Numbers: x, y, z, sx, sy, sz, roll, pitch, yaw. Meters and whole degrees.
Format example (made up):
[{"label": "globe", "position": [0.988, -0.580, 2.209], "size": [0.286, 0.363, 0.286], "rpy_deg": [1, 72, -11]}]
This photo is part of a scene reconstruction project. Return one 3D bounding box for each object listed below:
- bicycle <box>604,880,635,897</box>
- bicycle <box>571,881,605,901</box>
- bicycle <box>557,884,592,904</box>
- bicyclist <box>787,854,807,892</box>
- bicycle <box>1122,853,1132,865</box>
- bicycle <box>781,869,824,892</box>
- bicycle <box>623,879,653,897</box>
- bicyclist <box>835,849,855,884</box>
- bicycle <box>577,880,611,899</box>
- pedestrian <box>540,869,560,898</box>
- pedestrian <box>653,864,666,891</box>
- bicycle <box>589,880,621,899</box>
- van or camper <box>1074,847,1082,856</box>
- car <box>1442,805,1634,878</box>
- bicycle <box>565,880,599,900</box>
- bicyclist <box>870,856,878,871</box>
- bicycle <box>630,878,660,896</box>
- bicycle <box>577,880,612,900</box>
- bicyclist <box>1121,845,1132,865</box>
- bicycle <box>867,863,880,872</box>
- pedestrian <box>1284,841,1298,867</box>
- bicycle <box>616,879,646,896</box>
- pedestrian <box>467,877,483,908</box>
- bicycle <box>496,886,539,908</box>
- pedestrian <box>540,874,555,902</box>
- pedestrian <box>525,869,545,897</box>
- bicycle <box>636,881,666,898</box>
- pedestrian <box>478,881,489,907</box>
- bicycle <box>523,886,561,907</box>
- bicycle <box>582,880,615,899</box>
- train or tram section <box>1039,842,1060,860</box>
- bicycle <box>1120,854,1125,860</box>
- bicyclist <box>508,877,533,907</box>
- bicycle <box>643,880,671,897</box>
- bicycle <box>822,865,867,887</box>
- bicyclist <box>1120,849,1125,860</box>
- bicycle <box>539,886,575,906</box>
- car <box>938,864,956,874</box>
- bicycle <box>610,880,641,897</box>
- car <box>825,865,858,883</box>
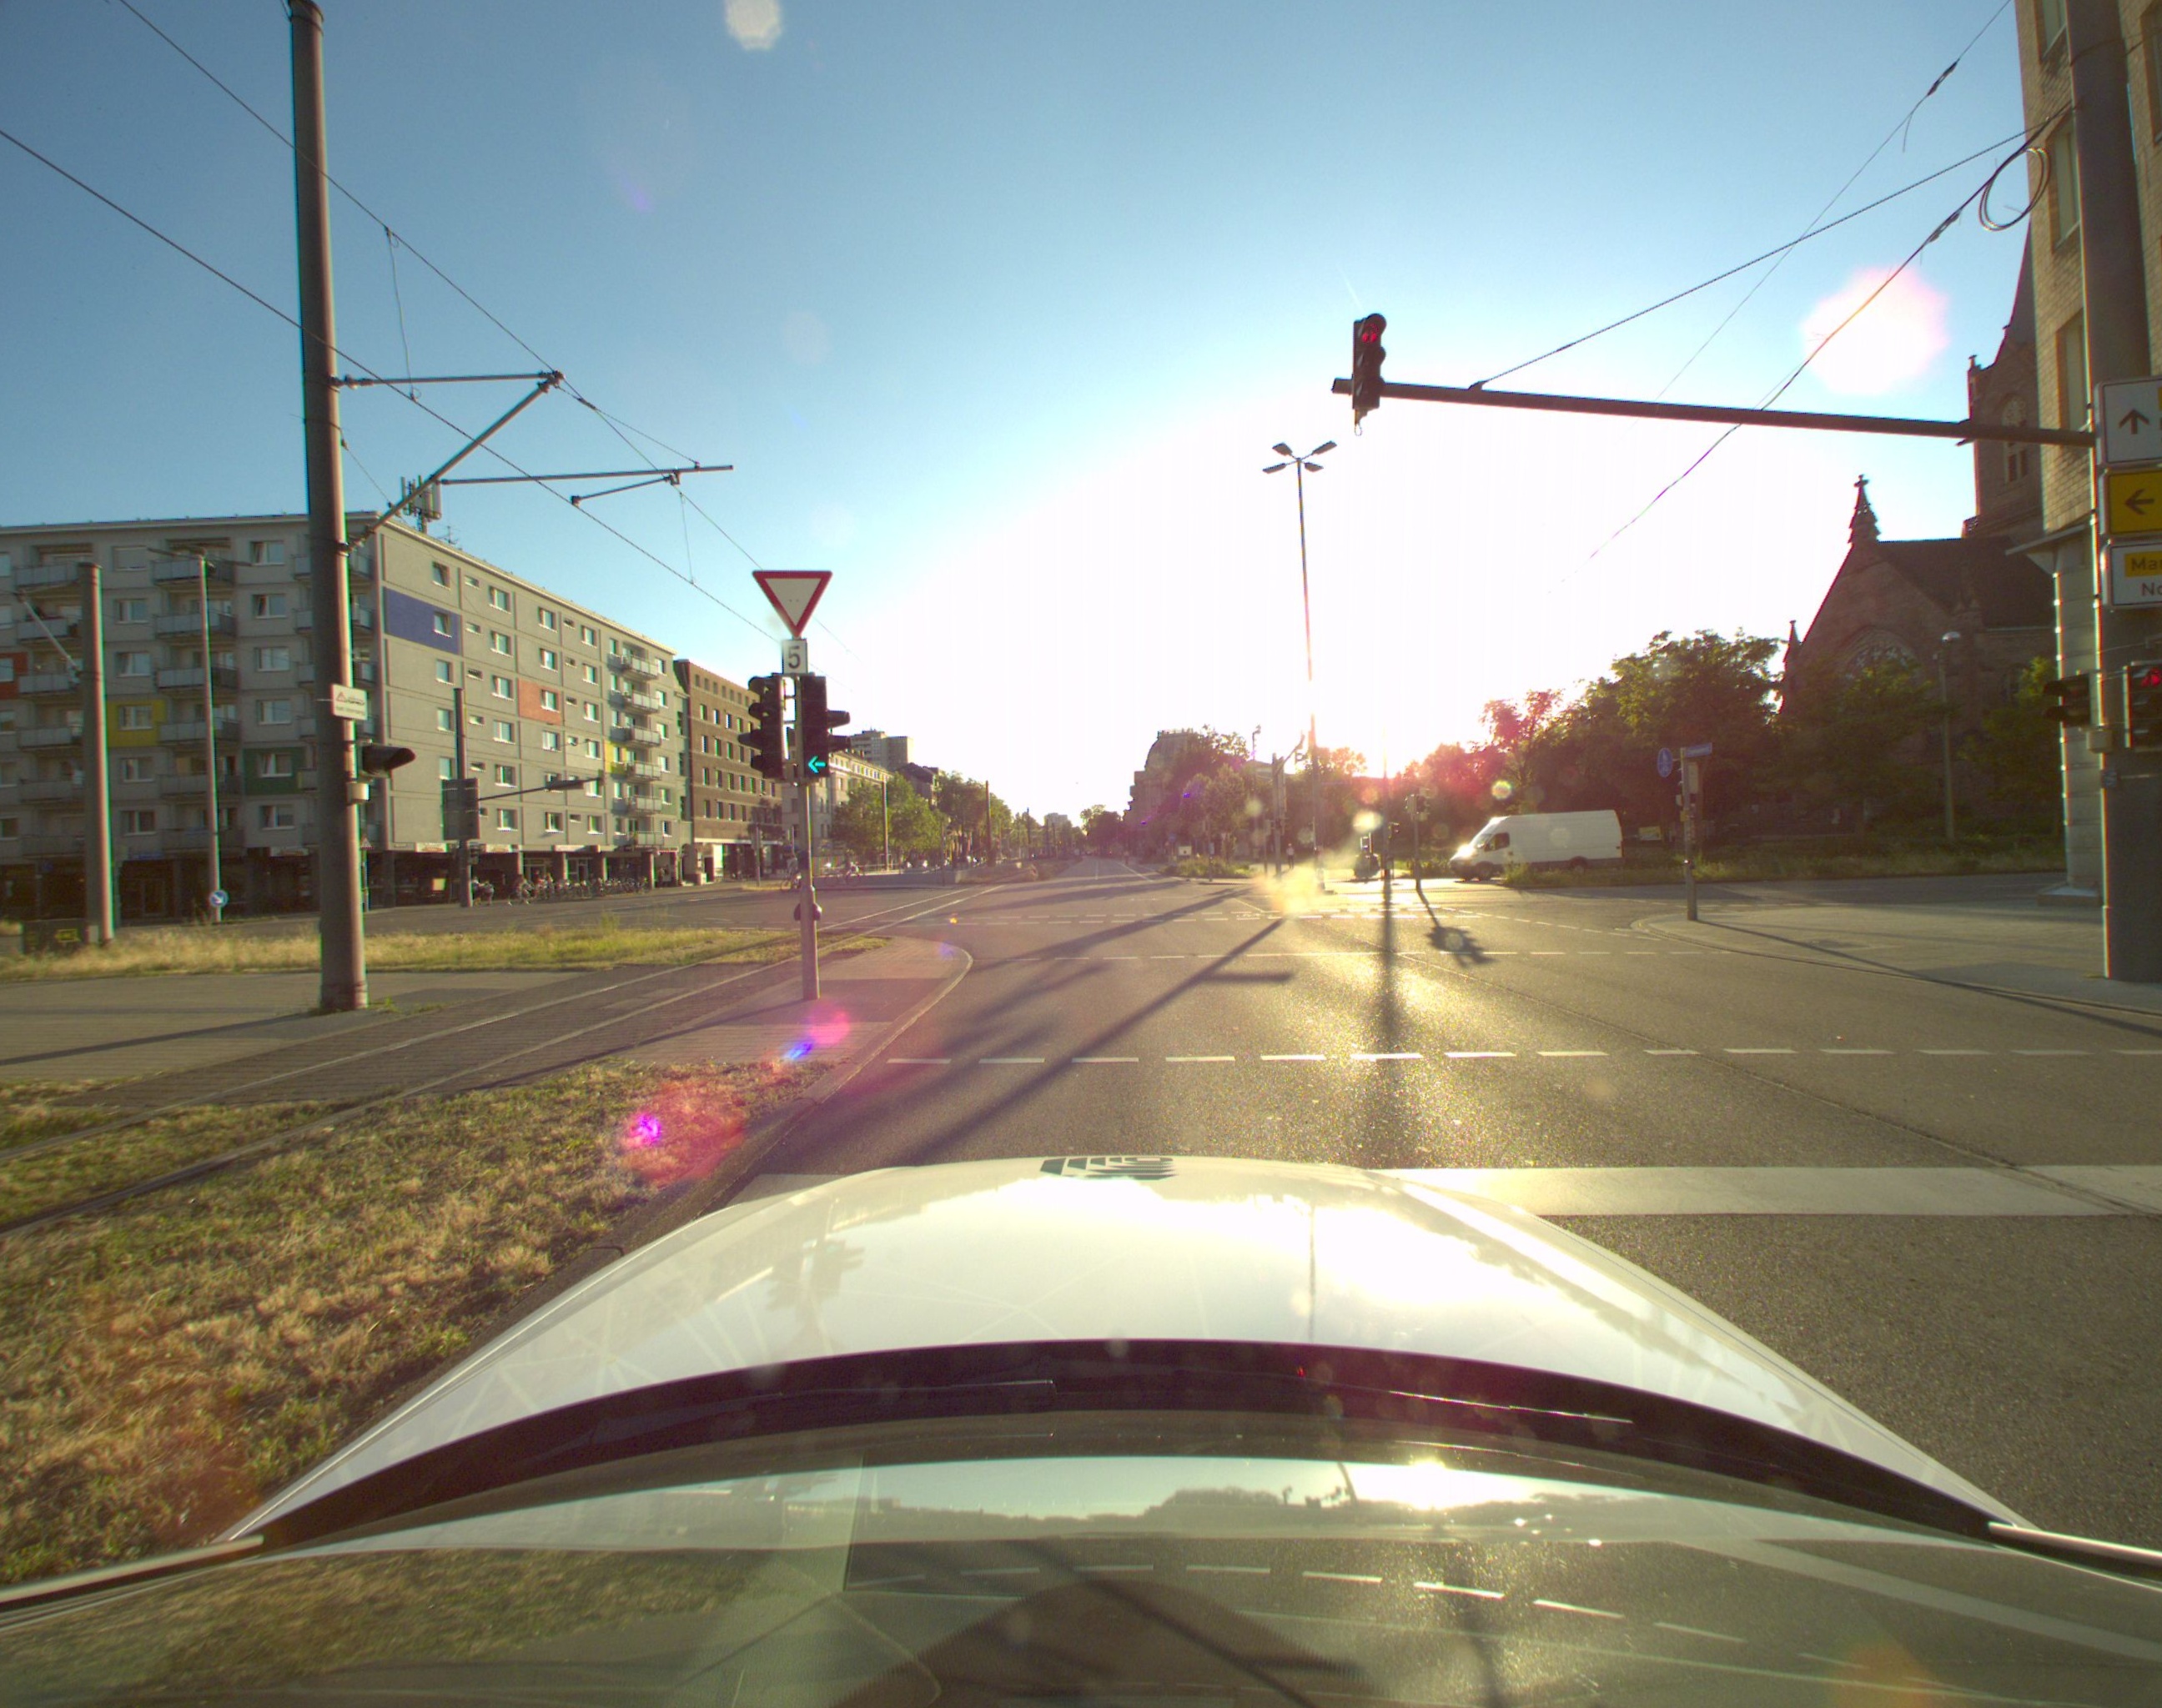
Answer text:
[{"label": "bicycle", "position": [-31.134, 2.326, 54.981], "size": [1.748, 1.117, 0.552], "rpy_deg": [-2, 0, 2]}, {"label": "bicycle", "position": [-31.265, 2.320, 51.666], "size": [1.762, 1.182, 0.568], "rpy_deg": [-2, 0, 1]}, {"label": "bicycle", "position": [-31.410, 2.497, 50.486], "size": [1.750, 1.139, 0.600], "rpy_deg": [-2, 0, 2]}, {"label": "bicyclist", "position": [-13.985, 0.917, 40.073], "size": [0.793, 1.818, 0.643], "rpy_deg": [-2, 0, -12]}, {"label": "bicycle", "position": [5.278, 0.592, 94.133], "size": [1.094, 1.399, 2.833], "rpy_deg": [-2, 0, 2]}, {"label": "bicycle", "position": [-13.718, 1.298, 40.141], "size": [1.902, 1.075, 0.630], "rpy_deg": [-2, 0, -11]}, {"label": "bicycle", "position": [-30.946, 2.364, 56.881], "size": [1.683, 1.153, 0.706], "rpy_deg": [-2, 0, 3]}, {"label": "bicyclist", "position": [-12.266, 0.651, 42.387], "size": [0.875, 1.818, 0.536], "rpy_deg": [-2, 0, -8]}, {"label": "bicycle", "position": [-31.779, 2.319, 53.120], "size": [1.824, 1.160, 0.640], "rpy_deg": [-2, 0, 1]}, {"label": "pedestrian", "position": [-34.659, 1.895, 53.176], "size": [0.785, 1.841, 0.733], "rpy_deg": [-2, 0, -7]}, {"label": "pedestrian", "position": [-34.430, 1.939, 66.554], "size": [0.599, 2.178, 0.792], "rpy_deg": [-2, 0, 1]}, {"label": "bicycle", "position": [-31.808, 2.372, 54.418], "size": [1.764, 1.136, 0.606], "rpy_deg": [-2, 0, 2]}, {"label": "van or camper", "position": [-1.083, -0.928, 262.220], "size": [2.441, 2.770, 5.600], "rpy_deg": [-2, 0, 0]}, {"label": "car", "position": [19.596, -0.515, 35.198], "size": [6.981, 2.827, 2.095], "rpy_deg": [-2, 0, 3]}, {"label": "bicycle", "position": [-31.259, 2.284, 51.060], "size": [1.759, 1.167, 0.540], "rpy_deg": [-2, 0, 2]}, {"label": "bicyclist", "position": [-27.497, 1.257, 108.224], "size": [0.793, 2.013, 0.924], "rpy_deg": [-2, 0, 4]}, {"label": "bicycle", "position": [-30.881, 2.357, 57.642], "size": [1.683, 1.179, 0.749], "rpy_deg": [-2, 0, 3]}, {"label": "bicycle", "position": [-31.239, 2.290, 52.308], "size": [1.782, 1.191, 0.652], "rpy_deg": [-2, 0, 1]}, {"label": "bicyclist", "position": [5.255, 0.154, 94.148], "size": [1.078, 2.276, 0.986], "rpy_deg": [-2, 0, 1]}, {"label": "bicycle", "position": [-27.513, 1.794, 107.982], "size": [0.809, 1.201, 2.415], "rpy_deg": [-2, 0, 4]}, {"label": "pedestrian", "position": [14.624, 0.005, 56.699], "size": [0.826, 1.803, 0.814], "rpy_deg": [-2, 0, 17]}, {"label": "bicycle", "position": [-31.044, 2.328, 56.202], "size": [1.719, 1.124, 0.634], "rpy_deg": [-2, -1, 3]}, {"label": "pedestrian", "position": [-32.498, 2.078, 43.694], "size": [0.575, 1.620, 0.598], "rpy_deg": [-2, 0, -29]}, {"label": "bicycle", "position": [-27.809, 2.115, 40.215], "size": [0.503, 0.944, 1.678], "rpy_deg": [-2, 0, 30]}, {"label": "pedestrian", "position": [-33.132, 2.084, 50.589], "size": [0.579, 1.684, 0.544], "rpy_deg": [-2, 0, -11]}, {"label": "pedestrian", "position": [-35.557, 1.872, 53.021], "size": [0.826, 1.813, 0.719], "rpy_deg": [0, 0, -9]}, {"label": "bicycle", "position": [-30.830, 2.531, 58.416], "size": [1.683, 1.170, 0.749], "rpy_deg": [-2, 0, 3]}, {"label": "pedestrian", "position": [-32.493, 2.150, 44.321], "size": [0.383, 1.383, 0.392], "rpy_deg": [-2, 0, -26]}, {"label": "bicycle", "position": [-32.281, 2.536, 48.807], "size": [1.788, 1.208, 0.638], "rpy_deg": [-2, 0, 0]}, {"label": "bicycle", "position": [-31.824, 2.343, 53.755], "size": [1.769, 1.159, 0.606], "rpy_deg": [-2, 0, 1]}, {"label": "train or tram section", "position": [-7.150, -0.587, 186.145], "size": [4.375, 3.850, 11.400], "rpy_deg": [-2, 0, -2]}, {"label": "bicycle", "position": [7.656, 0.490, 150.433], "size": [0.921, 1.111, 2.334], "rpy_deg": [-2, 0, 2]}, {"label": "bicyclist", "position": [-27.758, 1.859, 40.314], "size": [0.494, 1.426, 0.863], "rpy_deg": [-2, 0, 29]}, {"label": "bicycle", "position": [-30.782, 2.488, 59.148], "size": [1.683, 1.144, 0.697], "rpy_deg": [-2, 0, 3]}, {"label": "bicycle", "position": [-12.317, 1.125, 42.363], "size": [2.162, 1.083, 0.537], "rpy_deg": [-1, -1, -8]}, {"label": "bicyclist", "position": [7.622, 0.059, 150.376], "size": [0.922, 2.013, 0.851], "rpy_deg": [-2, 0, 1]}, {"label": "bicycle", "position": [-32.045, 2.589, 49.838], "size": [1.770, 1.142, 0.608], "rpy_deg": [-2, 0, 1]}, {"label": "car", "position": [-21.860, 2.412, 132.915], "size": [1.810, 1.420, 4.006], "rpy_deg": [-2, 0, 5]}, {"label": "bicycle", "position": [-31.101, 2.344, 55.567], "size": [1.754, 1.119, 0.568], "rpy_deg": [-2, 0, 2]}, {"label": "car", "position": [-23.993, 1.956, 81.611], "size": [1.681, 1.618, 4.006], "rpy_deg": [-4, 0, 5]}]
